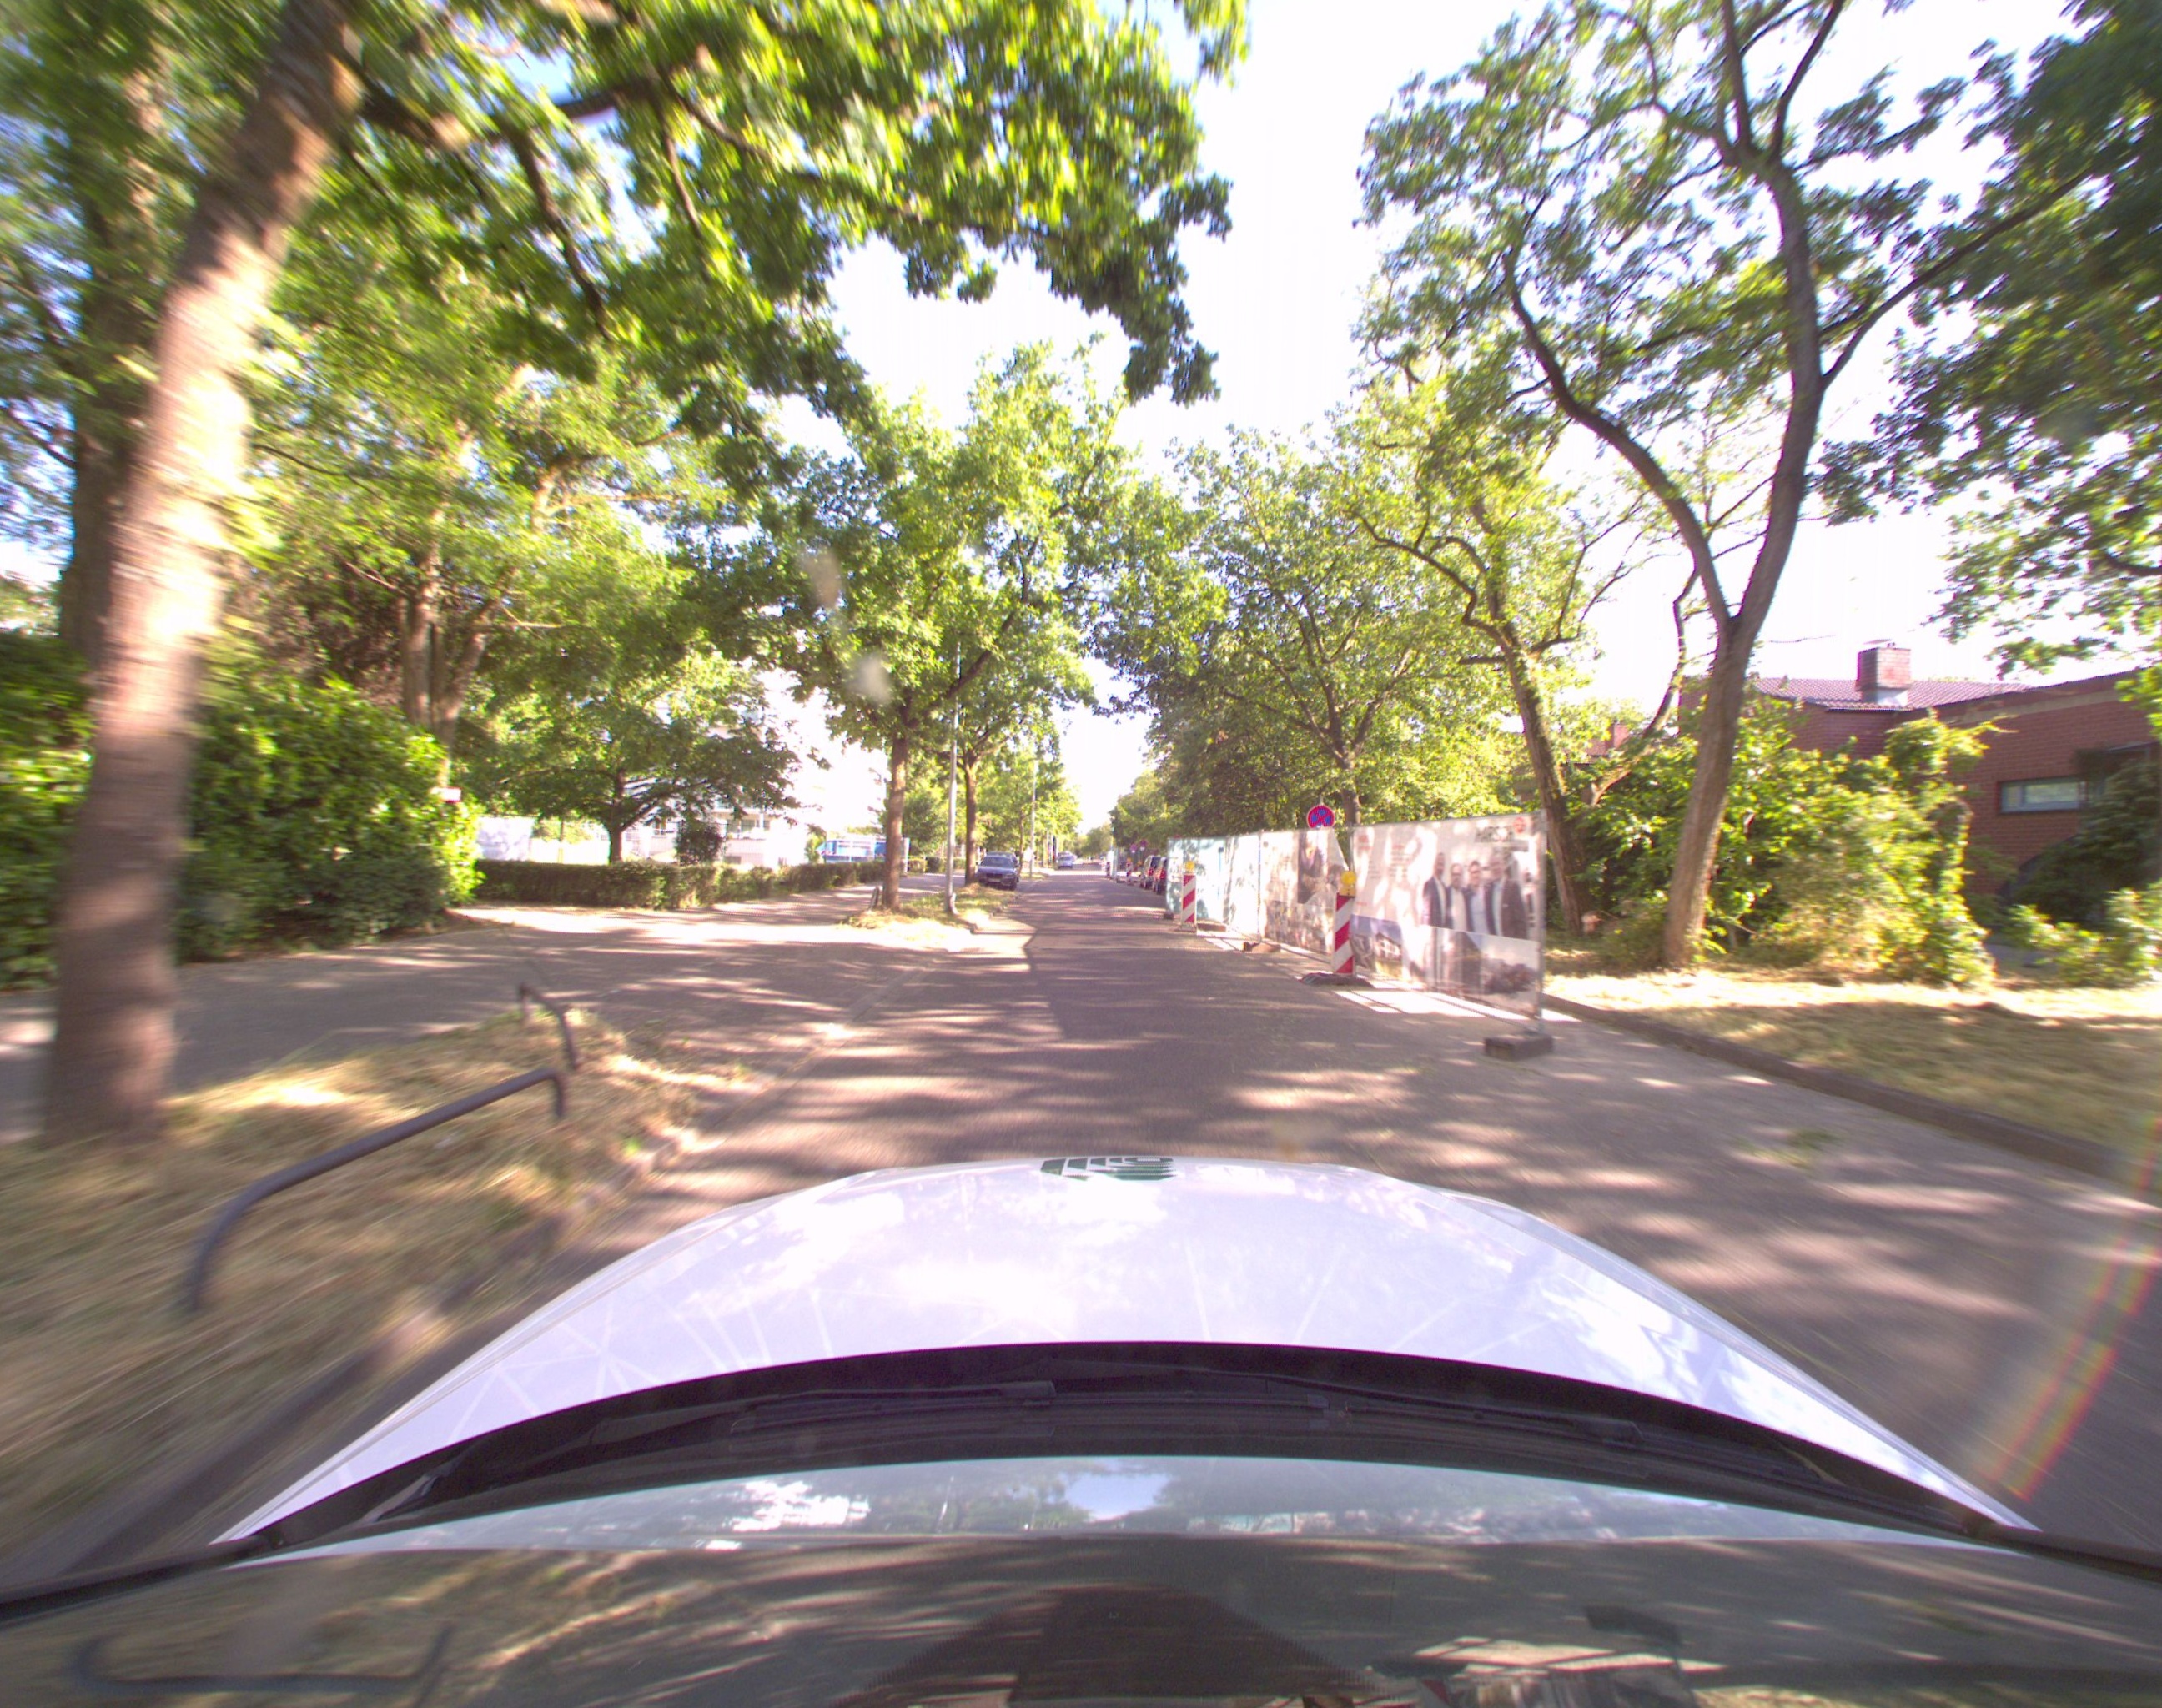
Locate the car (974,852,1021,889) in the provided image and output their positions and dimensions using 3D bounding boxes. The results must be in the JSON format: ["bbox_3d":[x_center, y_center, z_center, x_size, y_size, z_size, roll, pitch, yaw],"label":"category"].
[{"bbox_3d":[-3.577,0.690,35.455,1.746,1.478,3.833,2,0,-2],"label":"car"}]

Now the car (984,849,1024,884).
[{"bbox_3d":[-3.972,0.625,42.448,1.683,1.675,3.502,2,0,0],"label":"car"}]

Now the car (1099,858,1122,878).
[{"bbox_3d":[2.081,0.984,58.390,1.358,1.302,3.477,3,-1,-3],"label":"car"}]

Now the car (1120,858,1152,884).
[{"bbox_3d":[3.056,0.939,45.446,1.358,1.302,3.477,3,-1,-3],"label":"car"}]

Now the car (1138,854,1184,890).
[{"bbox_3d":[3.838,0.847,39.558,1.748,1.595,3.655,2,0,-2],"label":"car"}]

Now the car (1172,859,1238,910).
[{"bbox_3d":[3.877,0.923,25.825,1.497,1.478,3.056,2,0,-2],"label":"car"}]

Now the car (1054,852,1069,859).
[{"bbox_3d":[-5.057,0.342,208.875,3.712,1.691,1.575,2,0,-11],"label":"car"}]

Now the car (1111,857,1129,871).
[{"bbox_3d":[4.218,1.061,88.392,1.788,1.409,4.001,2,0,1],"label":"car"}]

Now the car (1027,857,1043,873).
[{"bbox_3d":[-3.990,0.937,70.806,1.358,1.302,3.477,3,-1,-3],"label":"car"}]

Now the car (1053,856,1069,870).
[{"bbox_3d":[-2.450,1.116,99.415,1.707,1.585,3.994,3,-1,-4],"label":"car"}]

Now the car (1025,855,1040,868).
[{"bbox_3d":[-4.888,0.770,82.519,1.358,1.302,3.477,3,-1,-3],"label":"car"}]

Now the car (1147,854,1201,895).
[{"bbox_3d":[3.923,0.842,34.882,1.748,1.595,3.655,2,0,-2],"label":"car"}]
